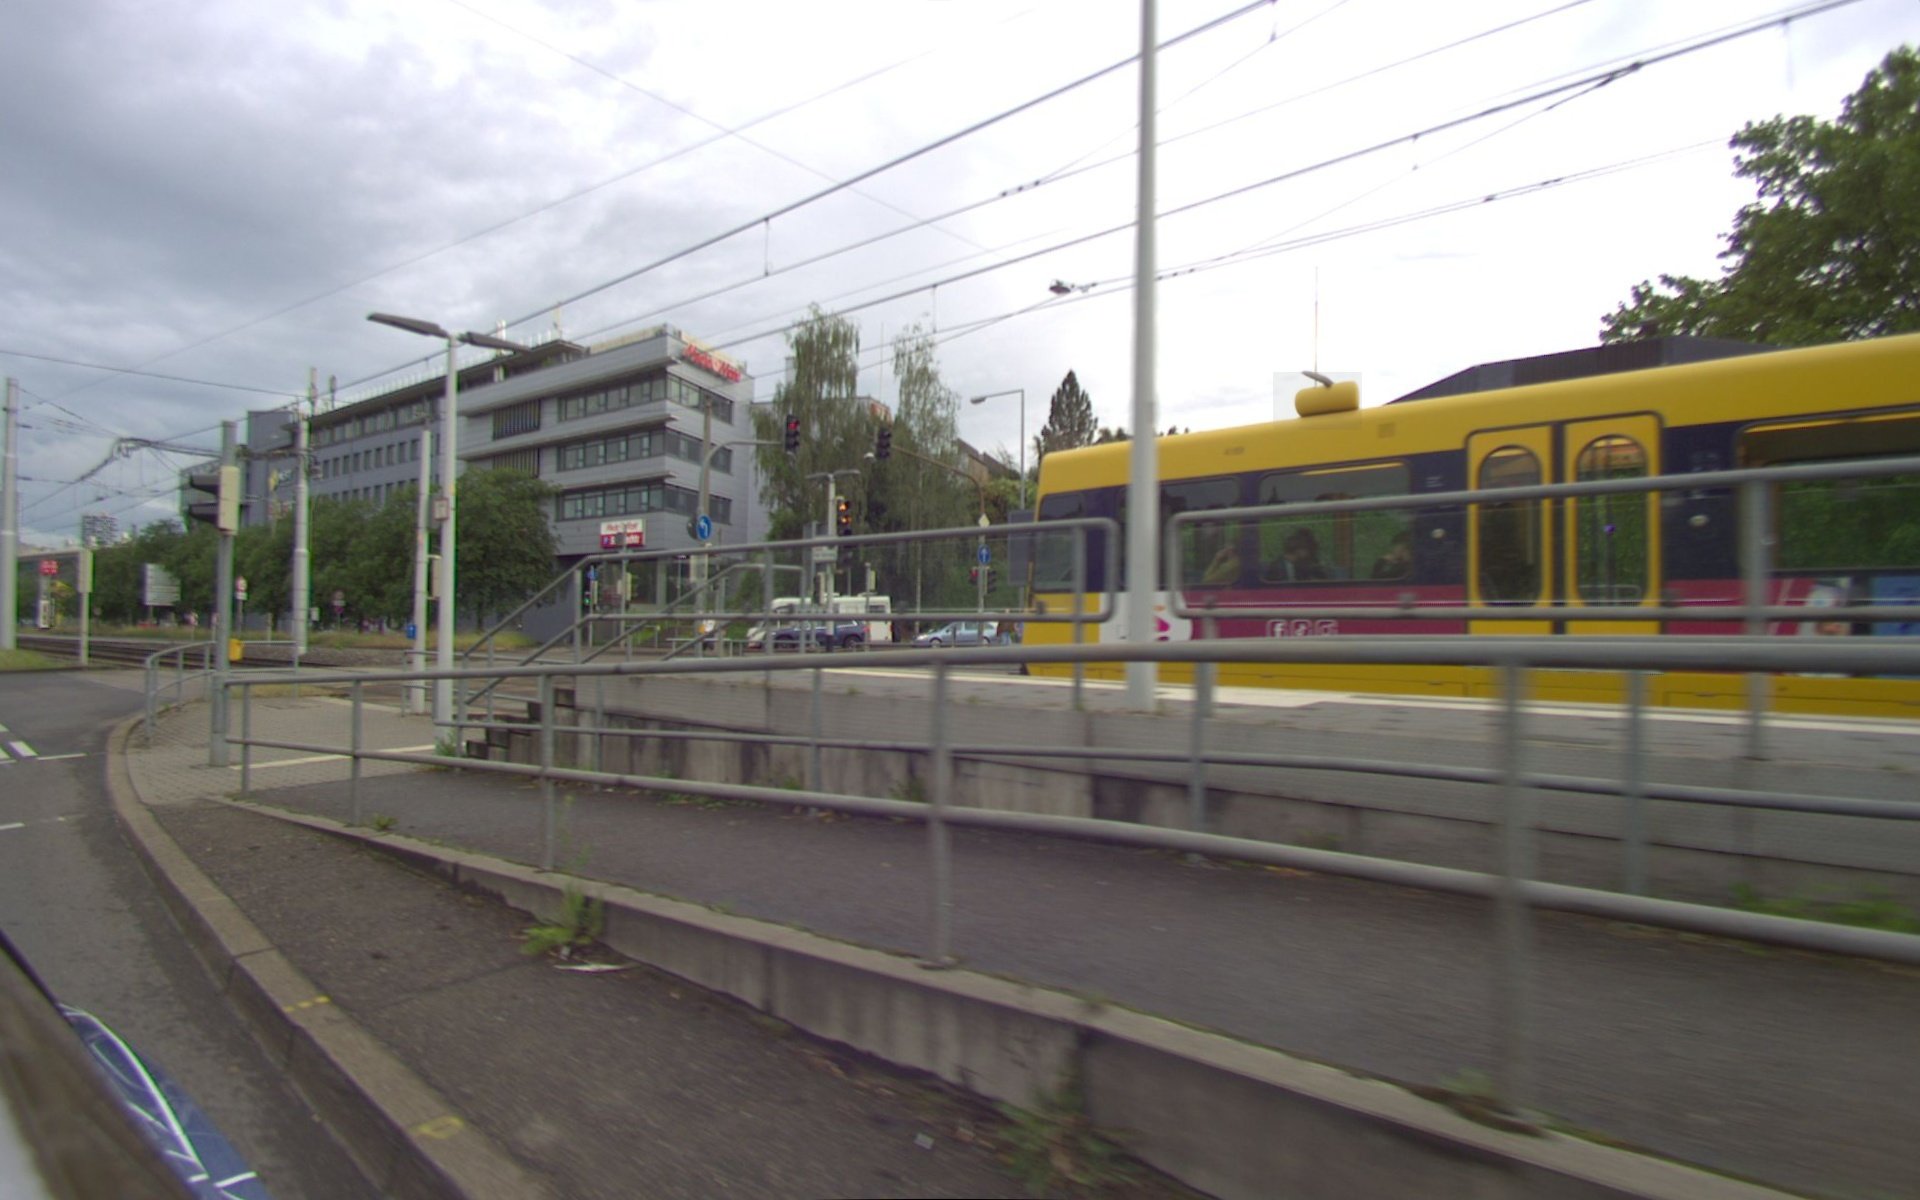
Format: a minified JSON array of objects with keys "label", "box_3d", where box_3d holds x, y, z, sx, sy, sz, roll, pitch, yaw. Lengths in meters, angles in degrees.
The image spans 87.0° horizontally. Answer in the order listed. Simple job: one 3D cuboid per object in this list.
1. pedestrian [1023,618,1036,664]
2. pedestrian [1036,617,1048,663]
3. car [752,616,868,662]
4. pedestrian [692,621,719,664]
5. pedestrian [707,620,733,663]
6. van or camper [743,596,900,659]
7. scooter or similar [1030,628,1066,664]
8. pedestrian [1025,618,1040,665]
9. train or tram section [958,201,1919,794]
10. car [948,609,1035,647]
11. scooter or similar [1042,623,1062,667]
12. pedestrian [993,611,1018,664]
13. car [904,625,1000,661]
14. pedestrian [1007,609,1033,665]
[{"label":"pedestrian","box_3d":[2.343,1.365,34.013,0.306,1.530,0.307,-1,1,42]},{"label":"pedestrian","box_3d":[2.745,1.356,34.028,0.306,1.530,0.229,-1,1,42]},{"label":"car","box_3d":[-6.999,1.765,47.207,5.083,1.894,2.006,-1,1,-16]},{"label":"pedestrian","box_3d":[-10.617,1.771,42.200,0.812,1.799,0.738,-2,-3,41]},{"label":"pedestrian","box_3d":[-10.139,1.755,42.784,0.812,1.799,0.738,-2,-3,41]},{"label":"van or camper","box_3d":[-7.108,1.343,51.786,7.631,2.905,2.307,-1,1,-16]},{"label":"scooter or similar","box_3d":[2.915,1.517,33.457,1.130,1.181,0.380,-1,-2,10]},{"label":"pedestrian","box_3d":[2.419,1.368,33.596,0.354,1.531,0.344,-2,-2,42]},{"label":"train or tram section","box_3d":[8.097,-0.723,7.295,19.327,4.003,2.837,-1,1,42]},{"label":"car","box_3d":[1.731,1.492,55.015,4.260,1.894,2.007,-1,1,-27]},{"label":"scooter or similar","box_3d":[2.923,1.433,32.233,0.405,1.374,1.215,0,-2,-5]},{"label":"pedestrian","box_3d":[1.446,1.184,32.113,0.632,1.640,0.405,-1,1,43]},{"label":"car","box_3d":[-0.388,2.077,49.552,4.261,1.519,2.006,-1,1,-19]},{"label":"pedestrian","box_3d":[1.924,1.159,32.314,0.622,1.760,0.495,-1,1,43]}]
